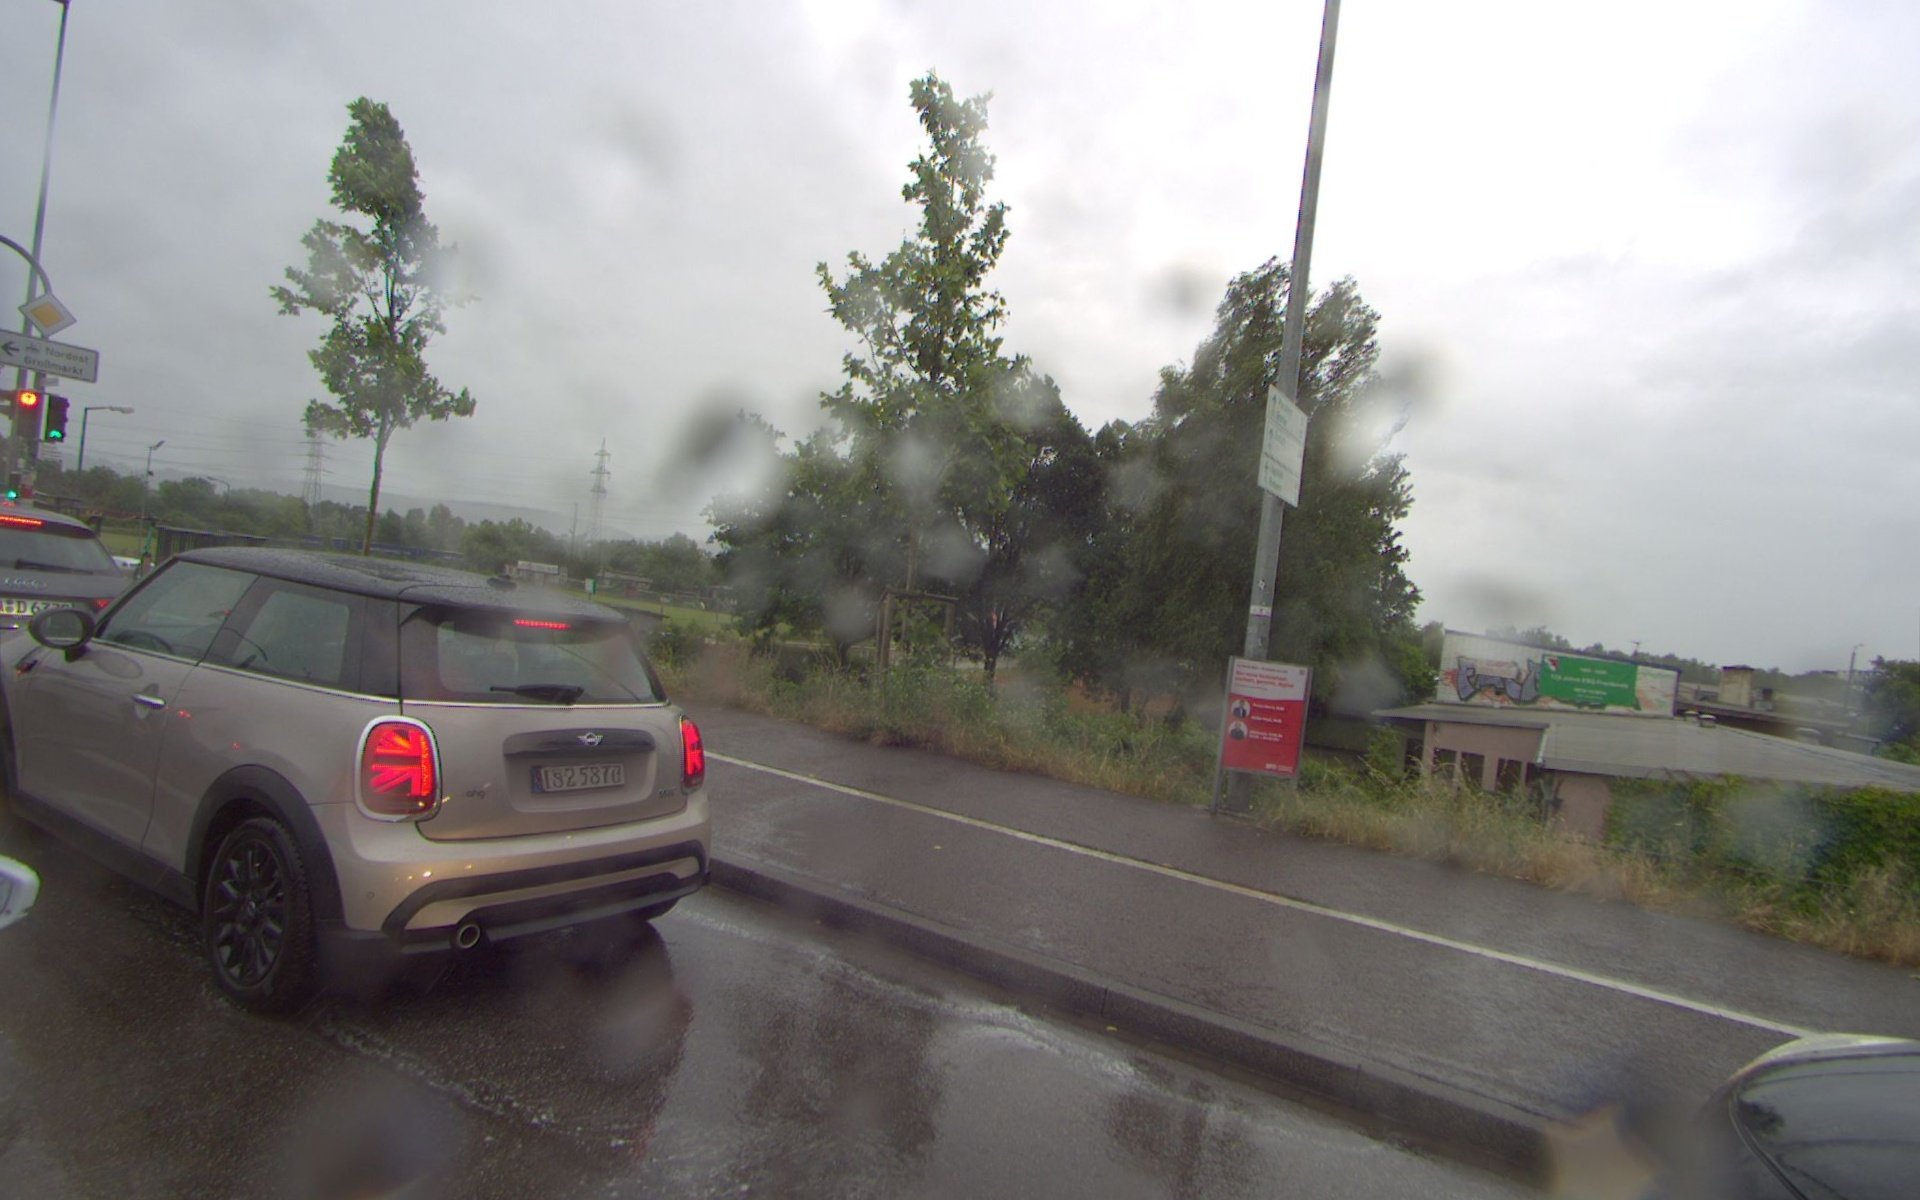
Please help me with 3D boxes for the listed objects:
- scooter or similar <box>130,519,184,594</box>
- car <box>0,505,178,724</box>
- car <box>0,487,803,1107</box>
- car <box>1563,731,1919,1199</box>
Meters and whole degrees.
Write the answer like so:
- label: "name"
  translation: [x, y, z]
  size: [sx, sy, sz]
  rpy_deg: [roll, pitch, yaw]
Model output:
- label: "scooter or similar"
  translation: [-13.605, -0.746, 17.043]
  size: [1.167, 1.171, 0.246]
  rpy_deg: [6, -1, 33]
- label: "car"
  translation: [-7.479, -0.066, 7.238]
  size: [3.563, 1.360, 1.632]
  rpy_deg: [6, -2, 31]
- label: "car"
  translation: [-2.687, 0.487, 4.320]
  size: [3.563, 1.525, 1.717]
  rpy_deg: [7, -2, 31]
- label: "car"
  translation: [2.788, 1.177, 1.056]
  size: [3.563, 1.445, 1.632]
  rpy_deg: [7, -1, 31]
